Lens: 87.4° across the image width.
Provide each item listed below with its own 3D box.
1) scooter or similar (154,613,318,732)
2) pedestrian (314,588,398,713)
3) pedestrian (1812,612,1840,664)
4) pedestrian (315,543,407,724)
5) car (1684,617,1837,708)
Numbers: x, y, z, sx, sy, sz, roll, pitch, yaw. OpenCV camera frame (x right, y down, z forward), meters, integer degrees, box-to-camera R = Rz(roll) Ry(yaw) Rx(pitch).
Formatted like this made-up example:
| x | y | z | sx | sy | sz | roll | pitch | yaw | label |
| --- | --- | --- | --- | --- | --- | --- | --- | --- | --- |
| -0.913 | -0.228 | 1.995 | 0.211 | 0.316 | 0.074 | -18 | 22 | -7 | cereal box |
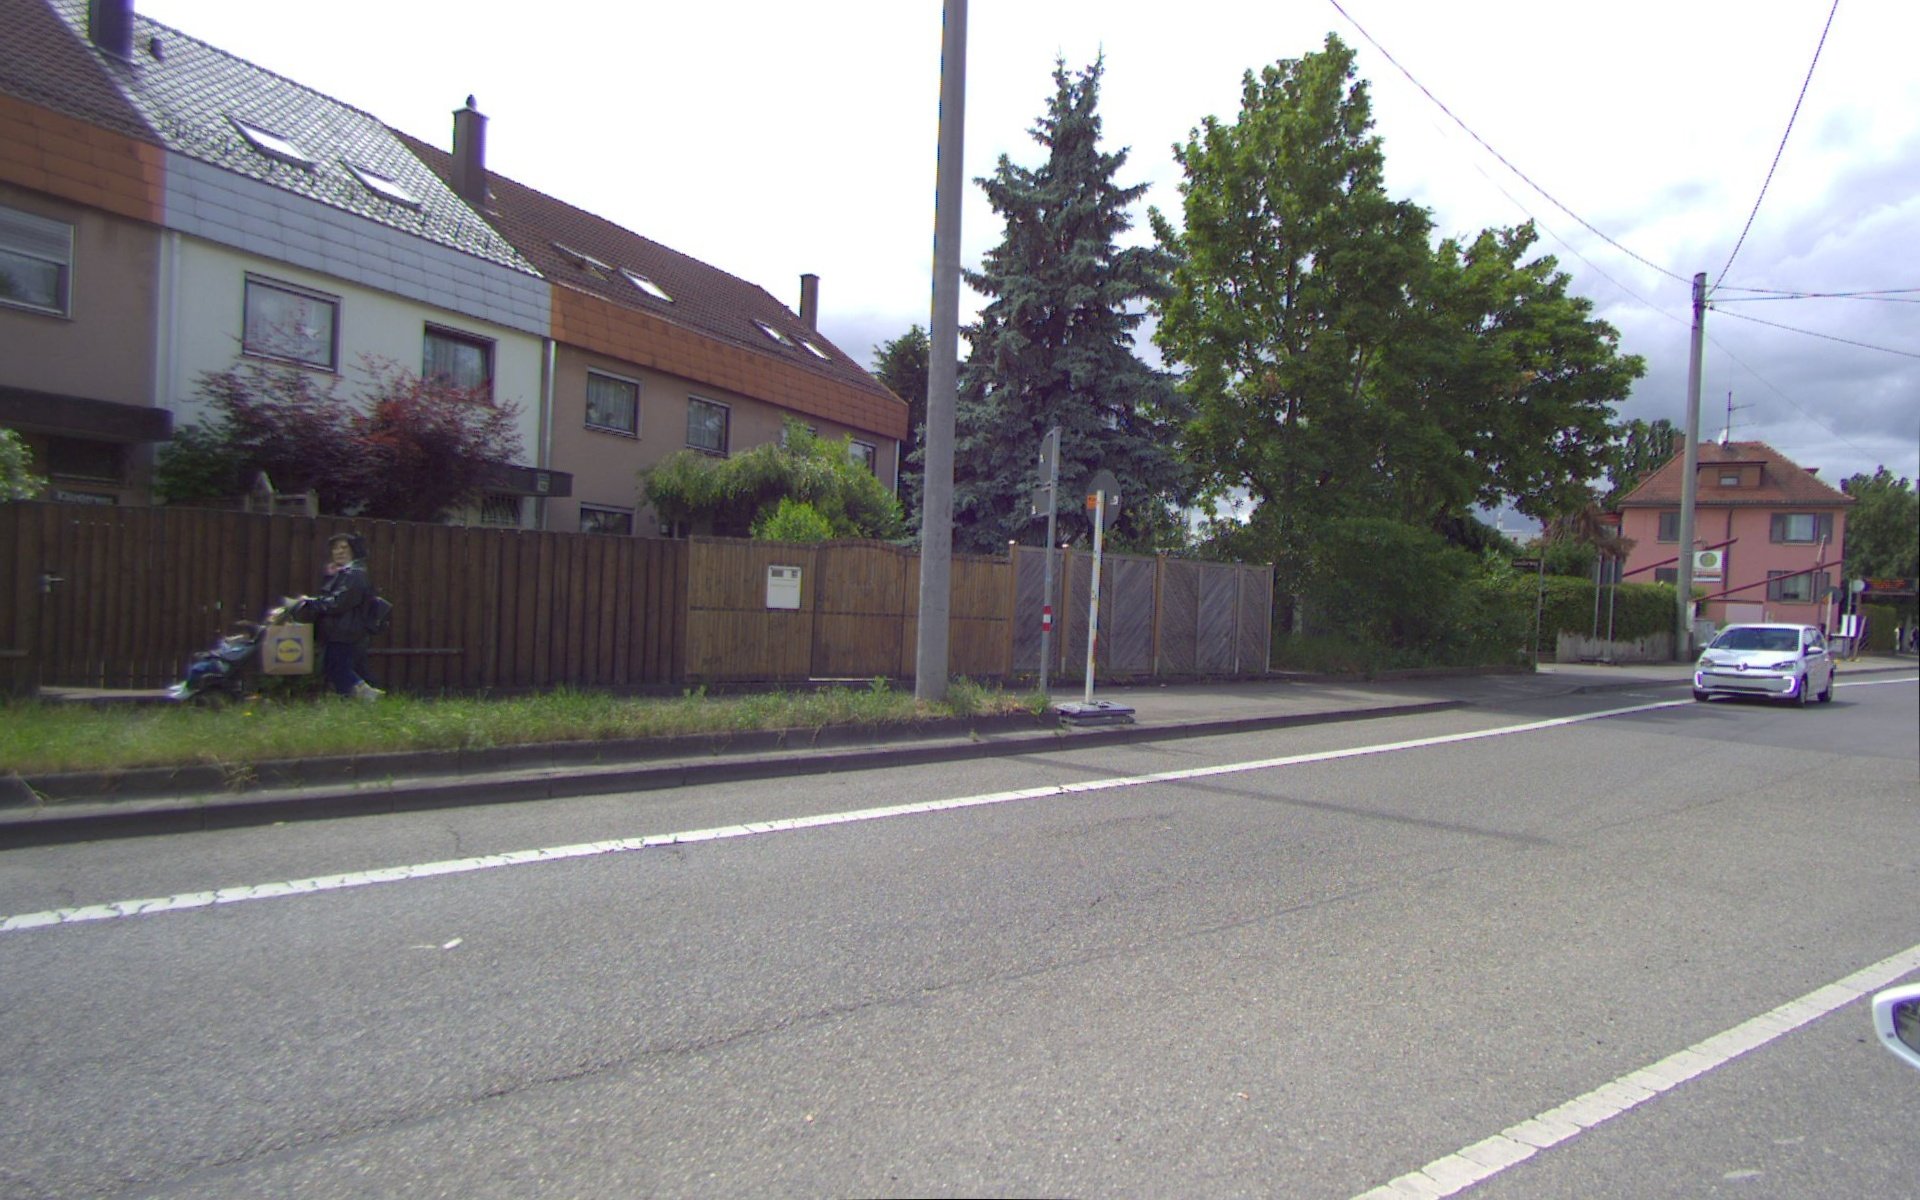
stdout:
| x | y | z | sx | sy | sz | roll | pitch | yaw | label |
| --- | --- | --- | --- | --- | --- | --- | --- | --- | --- |
| -5.872 | 0.571 | 8.206 | 1.019 | 0.876 | 0.632 | 2 | 1 | -31 | scooter or similar |
| -5.620 | 0.454 | 9.360 | 0.634 | 1.101 | 0.551 | 2 | 1 | -32 | pedestrian |
| 32.895 | 1.439 | 38.163 | 0.580 | 1.911 | 0.674 | 2 | 0 | -37 | pedestrian |
| -5.173 | 0.276 | 8.682 | 0.634 | 1.500 | 0.551 | 1 | 1 | -32 | pedestrian |
| 15.418 | 1.136 | 19.267 | 3.971 | 1.533 | 1.678 | 2 | 0 | -42 | car |
